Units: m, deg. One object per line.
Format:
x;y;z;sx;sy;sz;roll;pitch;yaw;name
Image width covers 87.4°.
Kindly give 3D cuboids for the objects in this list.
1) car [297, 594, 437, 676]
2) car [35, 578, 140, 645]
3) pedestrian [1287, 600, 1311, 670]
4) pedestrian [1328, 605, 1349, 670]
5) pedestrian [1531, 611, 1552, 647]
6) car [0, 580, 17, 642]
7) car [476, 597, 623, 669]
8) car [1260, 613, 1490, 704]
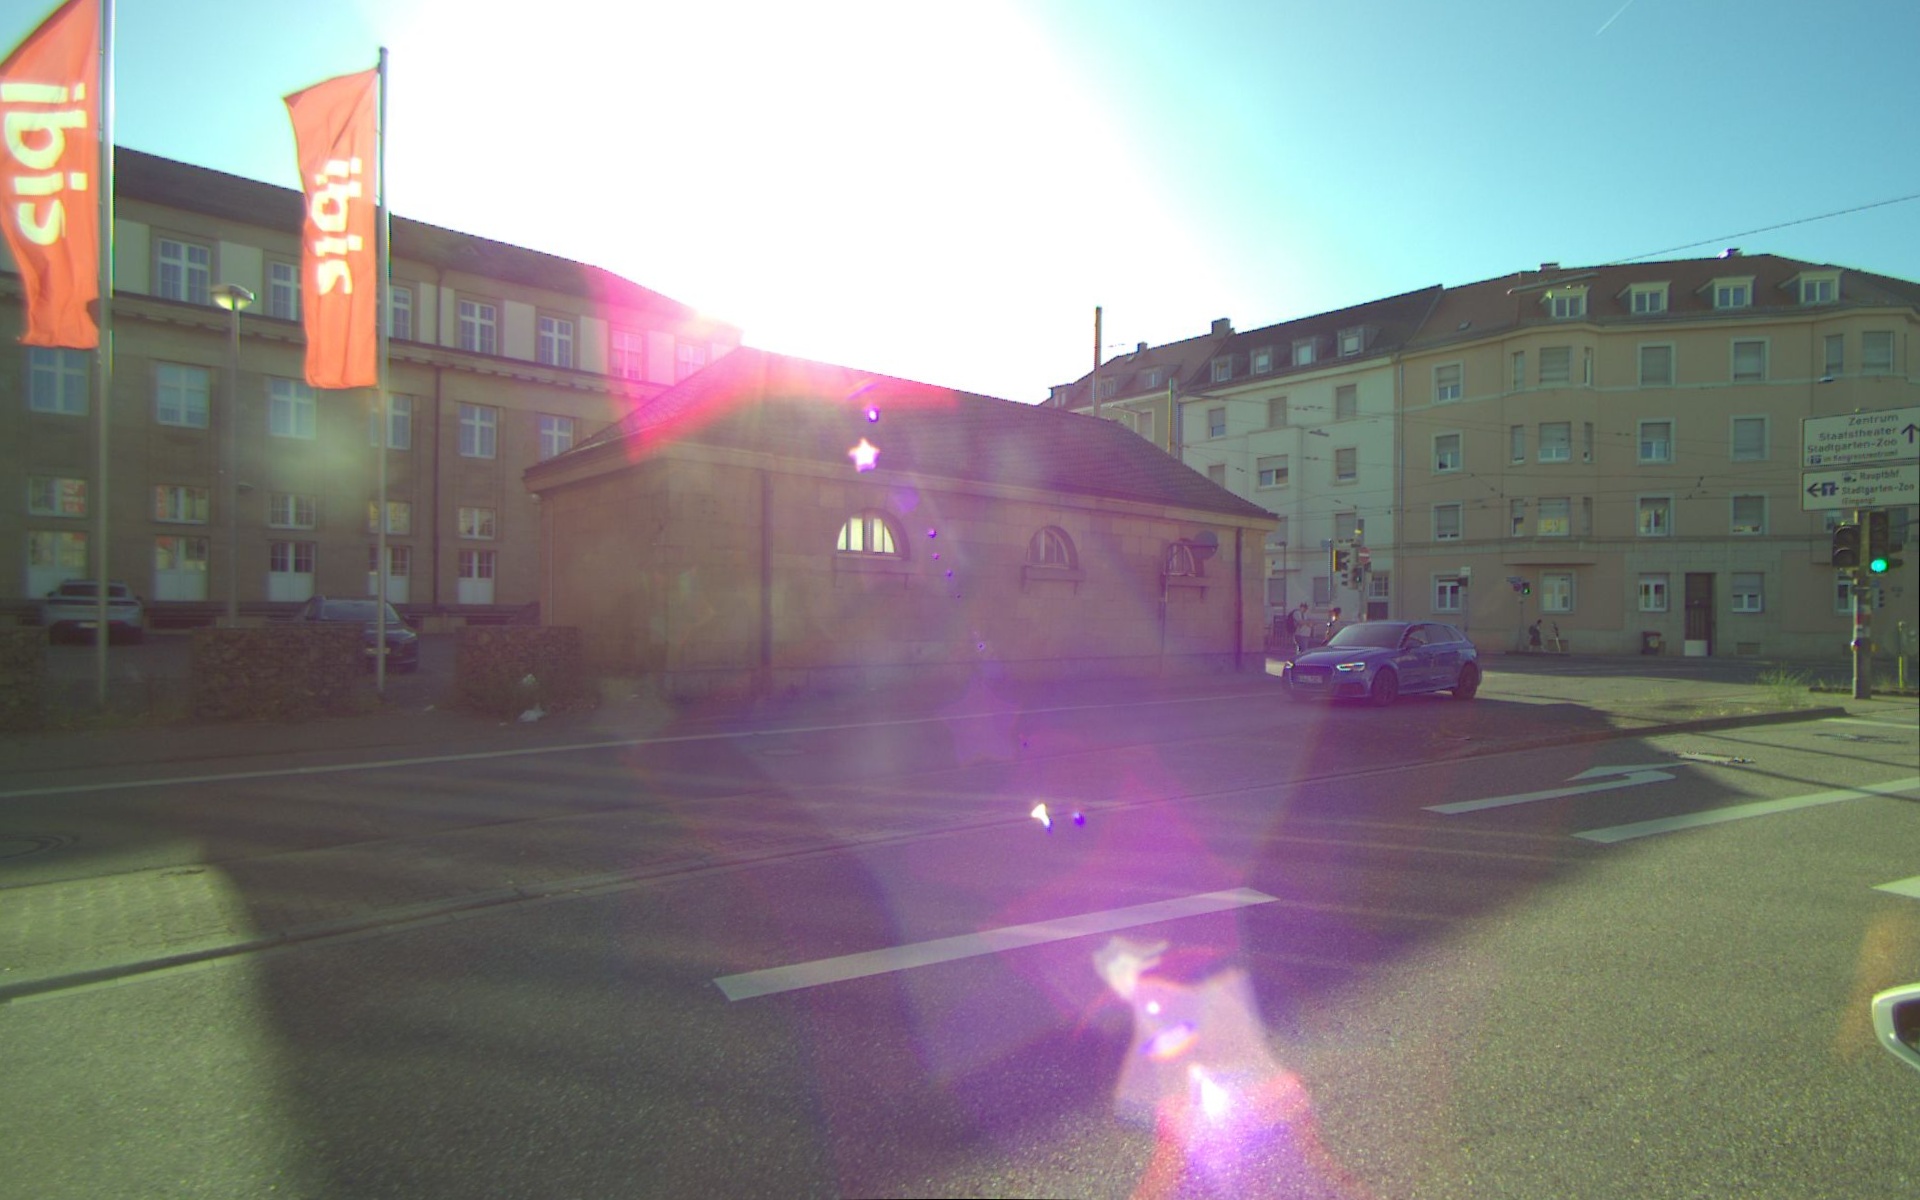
-12.125;0.652;20.421;1.832;1.448;3.953;1;0;-40;car
-22.697;0.282;26.130;1.936;1.622;3.894;1;0;-42;car
8.181;0.835;24.203;0.505;1.662;0.625;0;-1;22;pedestrian
9.862;0.973;26.147;0.479;1.662;0.625;0;-1;22;pedestrian
26.594;1.321;45.948;0.706;1.584;0.677;1;-1;20;pedestrian
-24.425;0.249;24.521;1.936;1.461;3.951;1;0;-42;car
-8.968;0.660;21.762;1.797;1.417;3.952;1;-1;-41;car
7.411;0.959;17.806;4.203;1.409;1.799;1;0;-35;car
